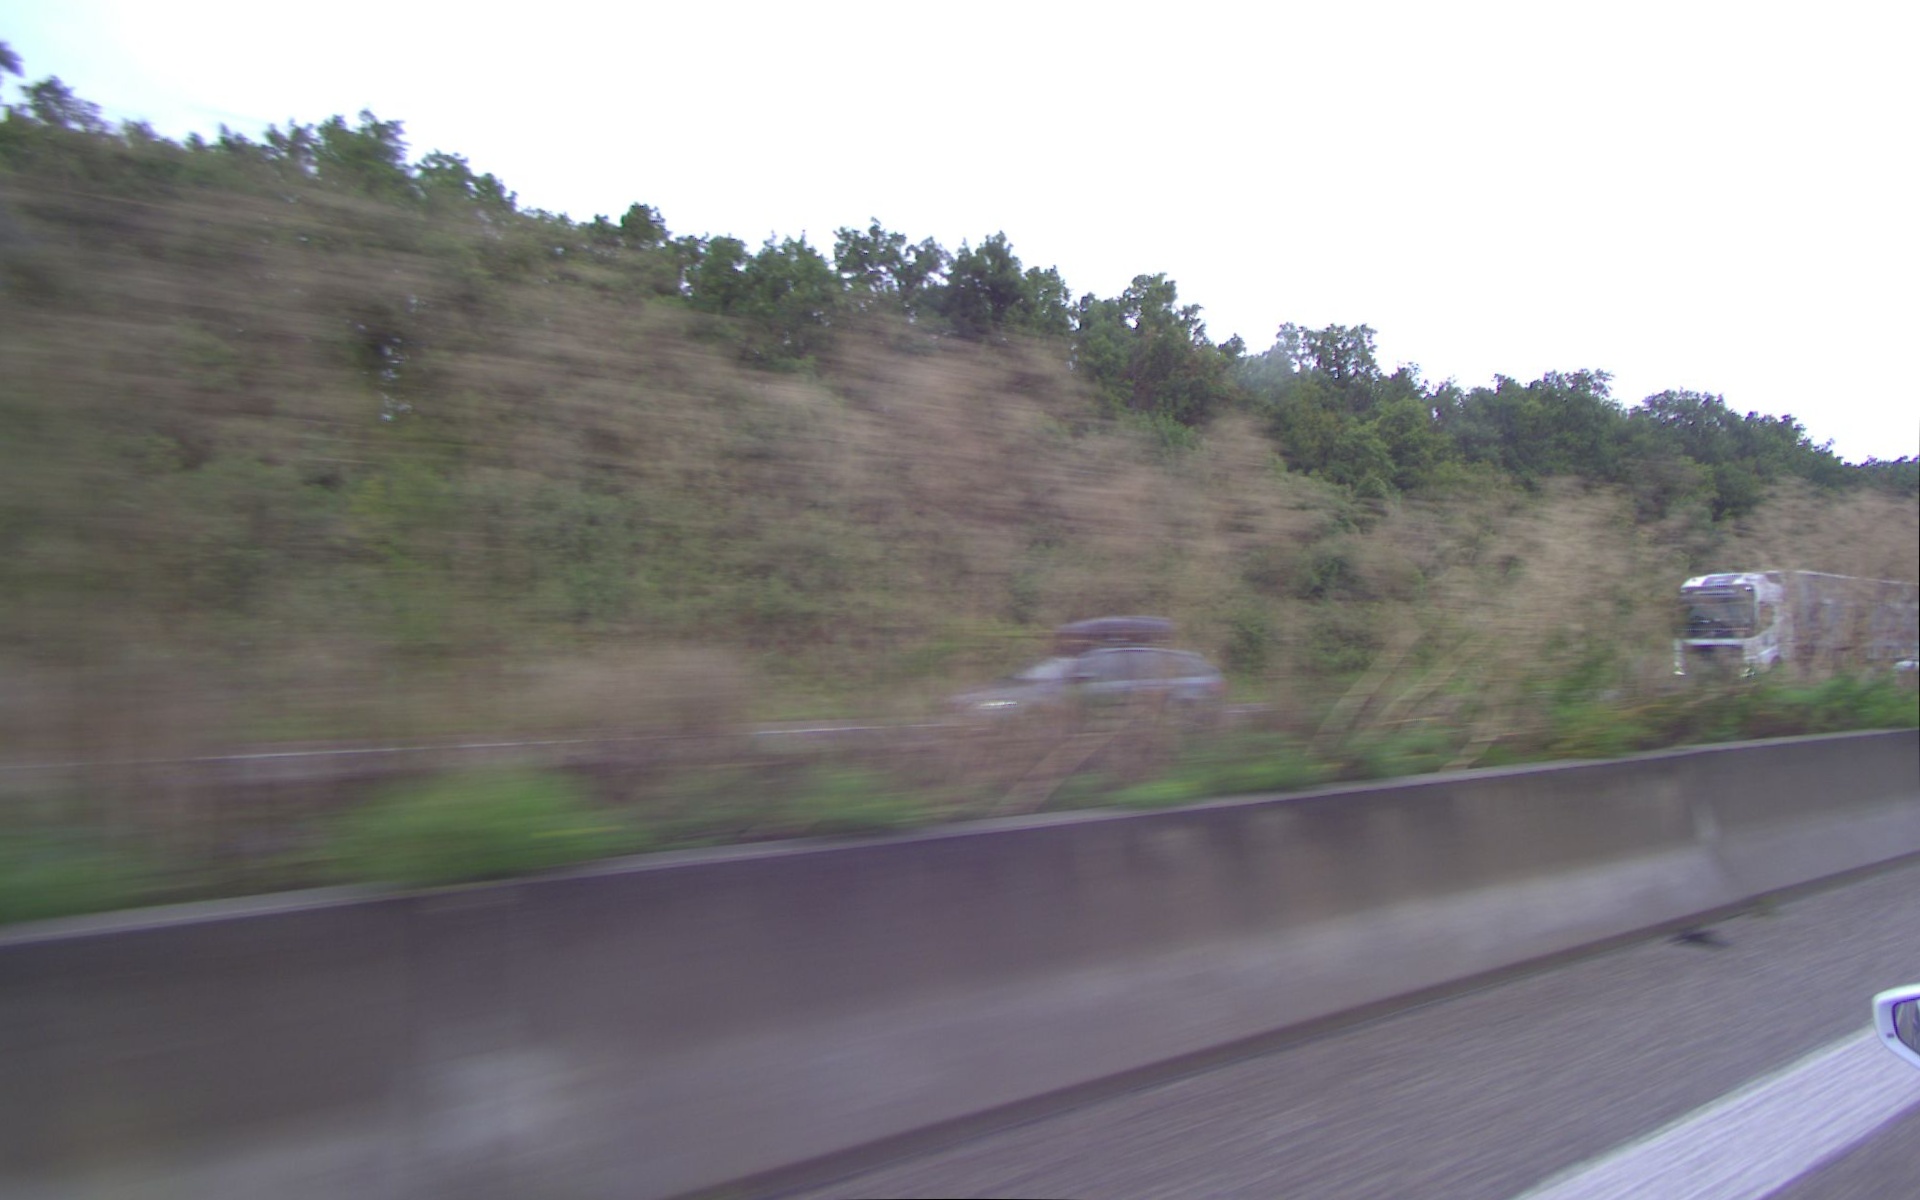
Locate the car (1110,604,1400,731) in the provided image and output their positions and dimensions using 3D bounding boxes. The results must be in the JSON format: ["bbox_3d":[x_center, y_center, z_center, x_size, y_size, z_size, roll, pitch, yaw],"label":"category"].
[{"bbox_3d":[4.703,0.985,15.811,4.447,1.745,1.982,2,-1,-33],"label":"car"}]

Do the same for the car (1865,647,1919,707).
[{"bbox_3d":[22.028,1.700,22.414,3.434,1.254,1.601,2,-2,-27],"label":"car"}]

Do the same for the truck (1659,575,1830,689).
[{"bbox_3d":[26.210,1.091,33.563,4.714,3.513,2.978,2,-2,-30],"label":"truck"}]
